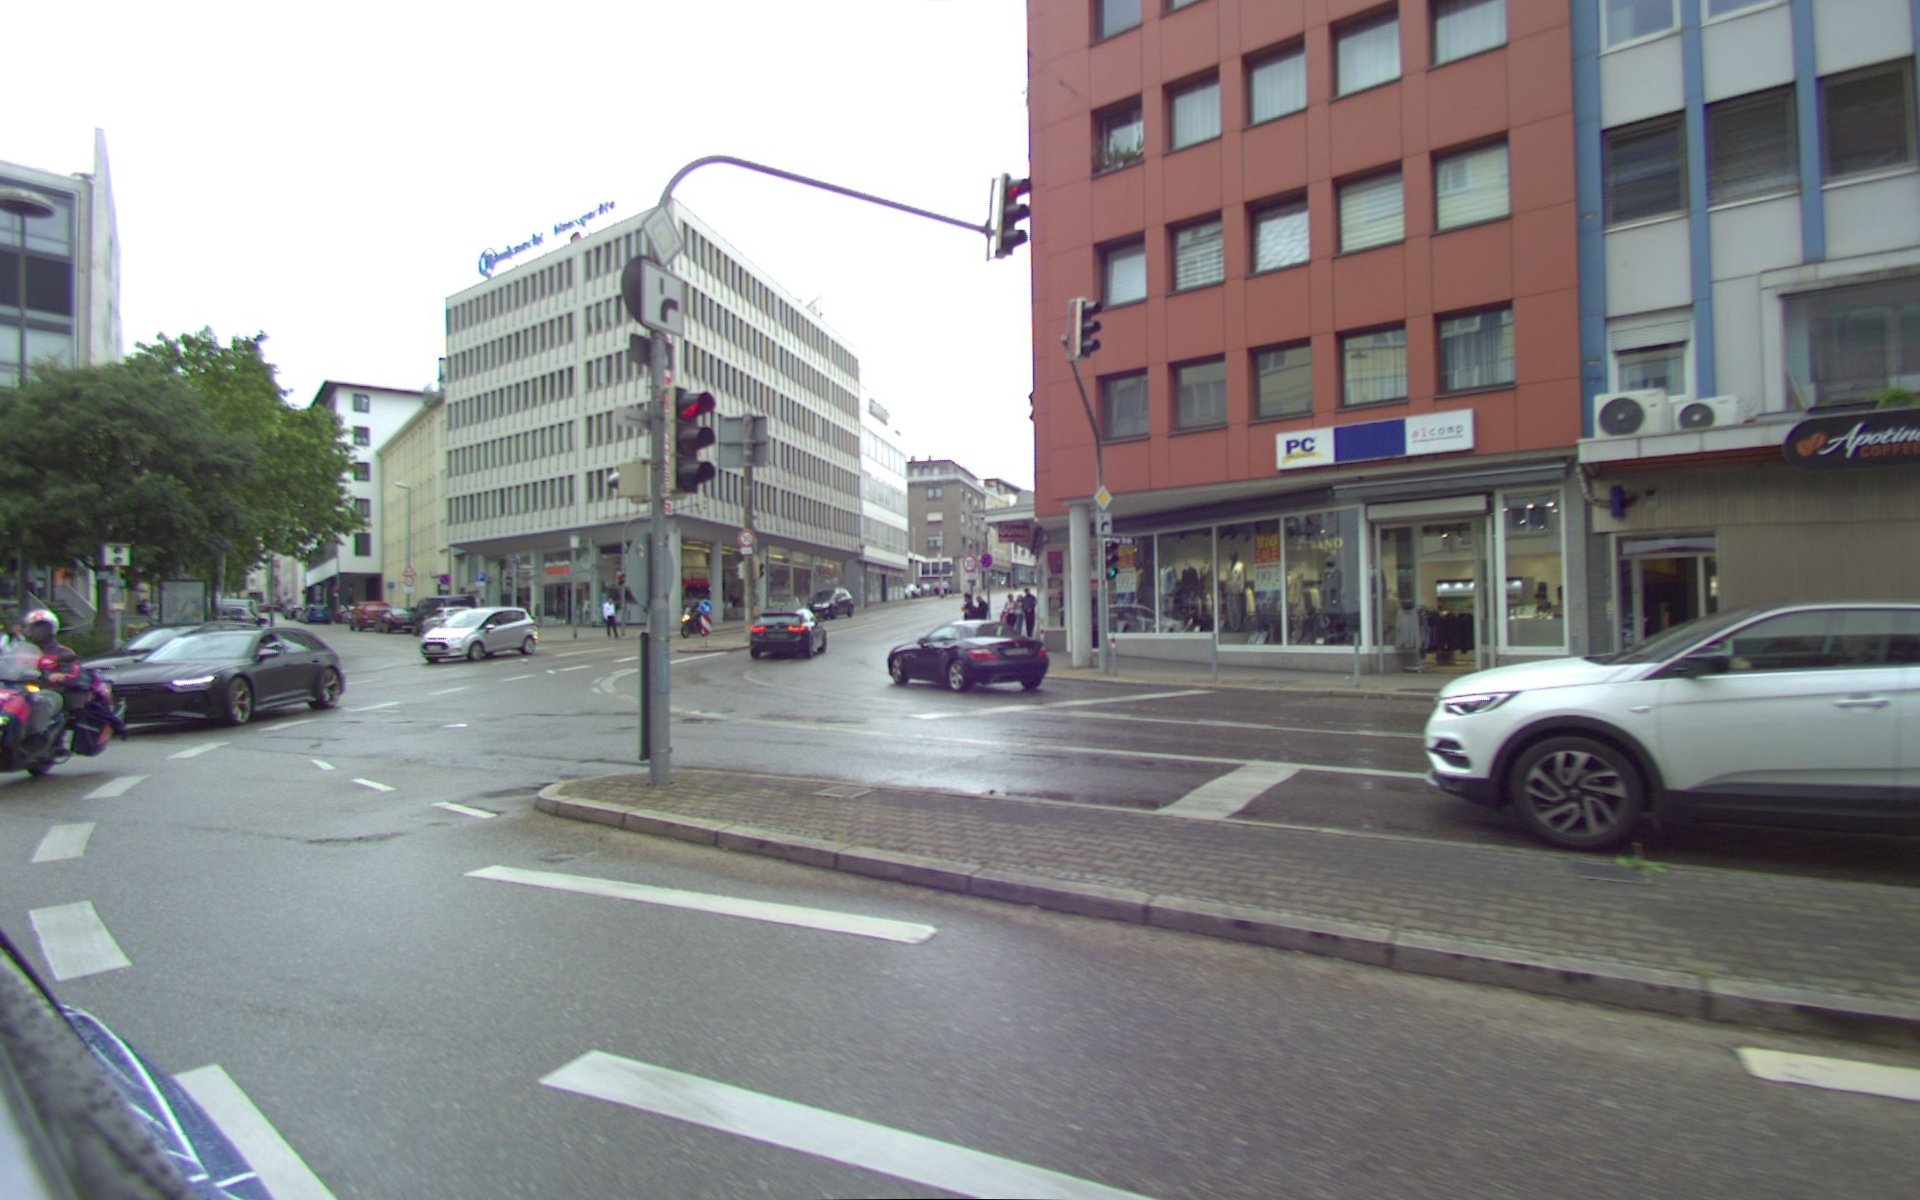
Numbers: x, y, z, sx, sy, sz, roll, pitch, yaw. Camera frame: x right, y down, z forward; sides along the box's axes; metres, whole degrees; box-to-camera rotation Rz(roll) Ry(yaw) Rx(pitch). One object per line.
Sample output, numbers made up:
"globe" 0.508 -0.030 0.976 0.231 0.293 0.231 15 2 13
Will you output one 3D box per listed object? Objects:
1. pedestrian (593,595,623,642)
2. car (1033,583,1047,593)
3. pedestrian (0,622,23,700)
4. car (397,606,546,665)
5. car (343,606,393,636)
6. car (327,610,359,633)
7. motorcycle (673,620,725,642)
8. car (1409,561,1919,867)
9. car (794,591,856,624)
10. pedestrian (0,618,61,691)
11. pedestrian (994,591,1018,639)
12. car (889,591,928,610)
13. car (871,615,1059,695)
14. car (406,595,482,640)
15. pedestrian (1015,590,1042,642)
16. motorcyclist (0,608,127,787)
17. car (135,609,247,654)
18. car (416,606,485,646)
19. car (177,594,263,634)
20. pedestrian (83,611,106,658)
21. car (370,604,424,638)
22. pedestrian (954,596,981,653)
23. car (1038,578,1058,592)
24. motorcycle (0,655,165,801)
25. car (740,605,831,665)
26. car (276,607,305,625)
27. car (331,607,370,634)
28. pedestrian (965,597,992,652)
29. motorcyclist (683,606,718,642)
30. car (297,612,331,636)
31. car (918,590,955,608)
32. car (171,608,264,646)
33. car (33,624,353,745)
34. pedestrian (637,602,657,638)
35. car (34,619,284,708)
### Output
"pedestrian" -15.523 0.818 44.670 0.979 2.029 0.949 -1 -1 -38
"car" 12.570 -1.921 159.358 1.615 1.383 3.433 -3 0 13
"pedestrian" -24.259 1.549 25.460 0.785 1.887 0.588 -4 4 28
"car" -15.267 1.068 31.866 1.982 1.595 4.082 -3 0 16
"car" -36.923 1.321 63.075 1.904 1.684 4.453 -3 0 -40
"car" -52.384 1.858 85.922 1.722 1.808 3.673 -3 0 -40
"motorcycle" -10.892 1.281 42.289 0.709 0.848 2.373 -1 0 27
"car" 5.304 0.579 6.174 4.414 1.563 1.978 -3 0 32
"car" -7.533 0.399 56.836 1.982 1.696 3.979 -1 0 16
"pedestrian" -23.954 1.395 26.096 0.785 1.761 0.776 -4 4 28
"pedestrian" 1.634 0.525 35.668 0.687 1.642 0.731 -3 0 10
"car" -5.480 0.053 107.720 3.951 1.971 1.744 -2 0 6
"car" -0.018 0.998 19.672 1.767 1.371 4.072 0 -1 -32
"car" -26.312 0.901 51.517 2.067 2.106 4.617 -3 0 -45
"pedestrian" 2.396 0.552 35.296 0.726 1.760 0.692 -5 -1 12
"motorcyclist" -8.942 0.909 9.759 1.075 1.617 0.956 -2 0 -15
"car" -31.425 1.260 41.490 3.487 1.571 1.745 -3 1 -34
"car" -23.461 1.204 46.491 1.970 1.643 4.624 -3 0 -37
"car" -45.953 0.833 62.932 3.771 2.282 1.991 -2 1 -17
"pedestrian" -34.720 1.380 40.600 0.583 1.827 0.706 -3 -1 -37
"car" -32.320 1.221 58.010 1.995 1.763 4.624 -3 0 -37
"pedestrian" 0.245 0.781 32.443 0.725 1.761 0.741 -3 0 8
"car" 11.832 -1.957 135.456 1.981 1.751 3.982 -3 0 14
"motorcycle" -8.960 1.182 9.740 1.292 1.144 2.191 -1 0 -15
"car" -5.194 0.990 30.620 1.972 1.563 4.378 -3 0 0
"car" -69.378 1.661 104.837 1.995 1.661 4.435 -3 0 -40
"car" -49.827 1.670 82.704 1.995 2.008 4.435 -3 0 -40
"pedestrian" 0.619 0.789 33.429 0.725 1.761 0.698 -3 0 8
"motorcyclist" -10.864 0.995 42.386 0.907 1.453 1.104 -1 0 27
"car" -53.716 1.980 84.150 1.995 1.854 4.053 -3 0 -38
"car" -2.737 -0.126 118.127 3.953 2.029 1.995 -2 0 8
"car" -35.602 1.254 48.591 3.489 1.570 1.744 -3 2 -37
"car" -11.784 1.191 16.059 1.968 1.502 4.743 -1 0 -8
"pedestrian" -14.705 0.941 47.493 0.703 1.635 0.726 -1 -1 -35
"car" -16.856 1.264 21.591 1.849 1.559 4.097 -2 0 5
